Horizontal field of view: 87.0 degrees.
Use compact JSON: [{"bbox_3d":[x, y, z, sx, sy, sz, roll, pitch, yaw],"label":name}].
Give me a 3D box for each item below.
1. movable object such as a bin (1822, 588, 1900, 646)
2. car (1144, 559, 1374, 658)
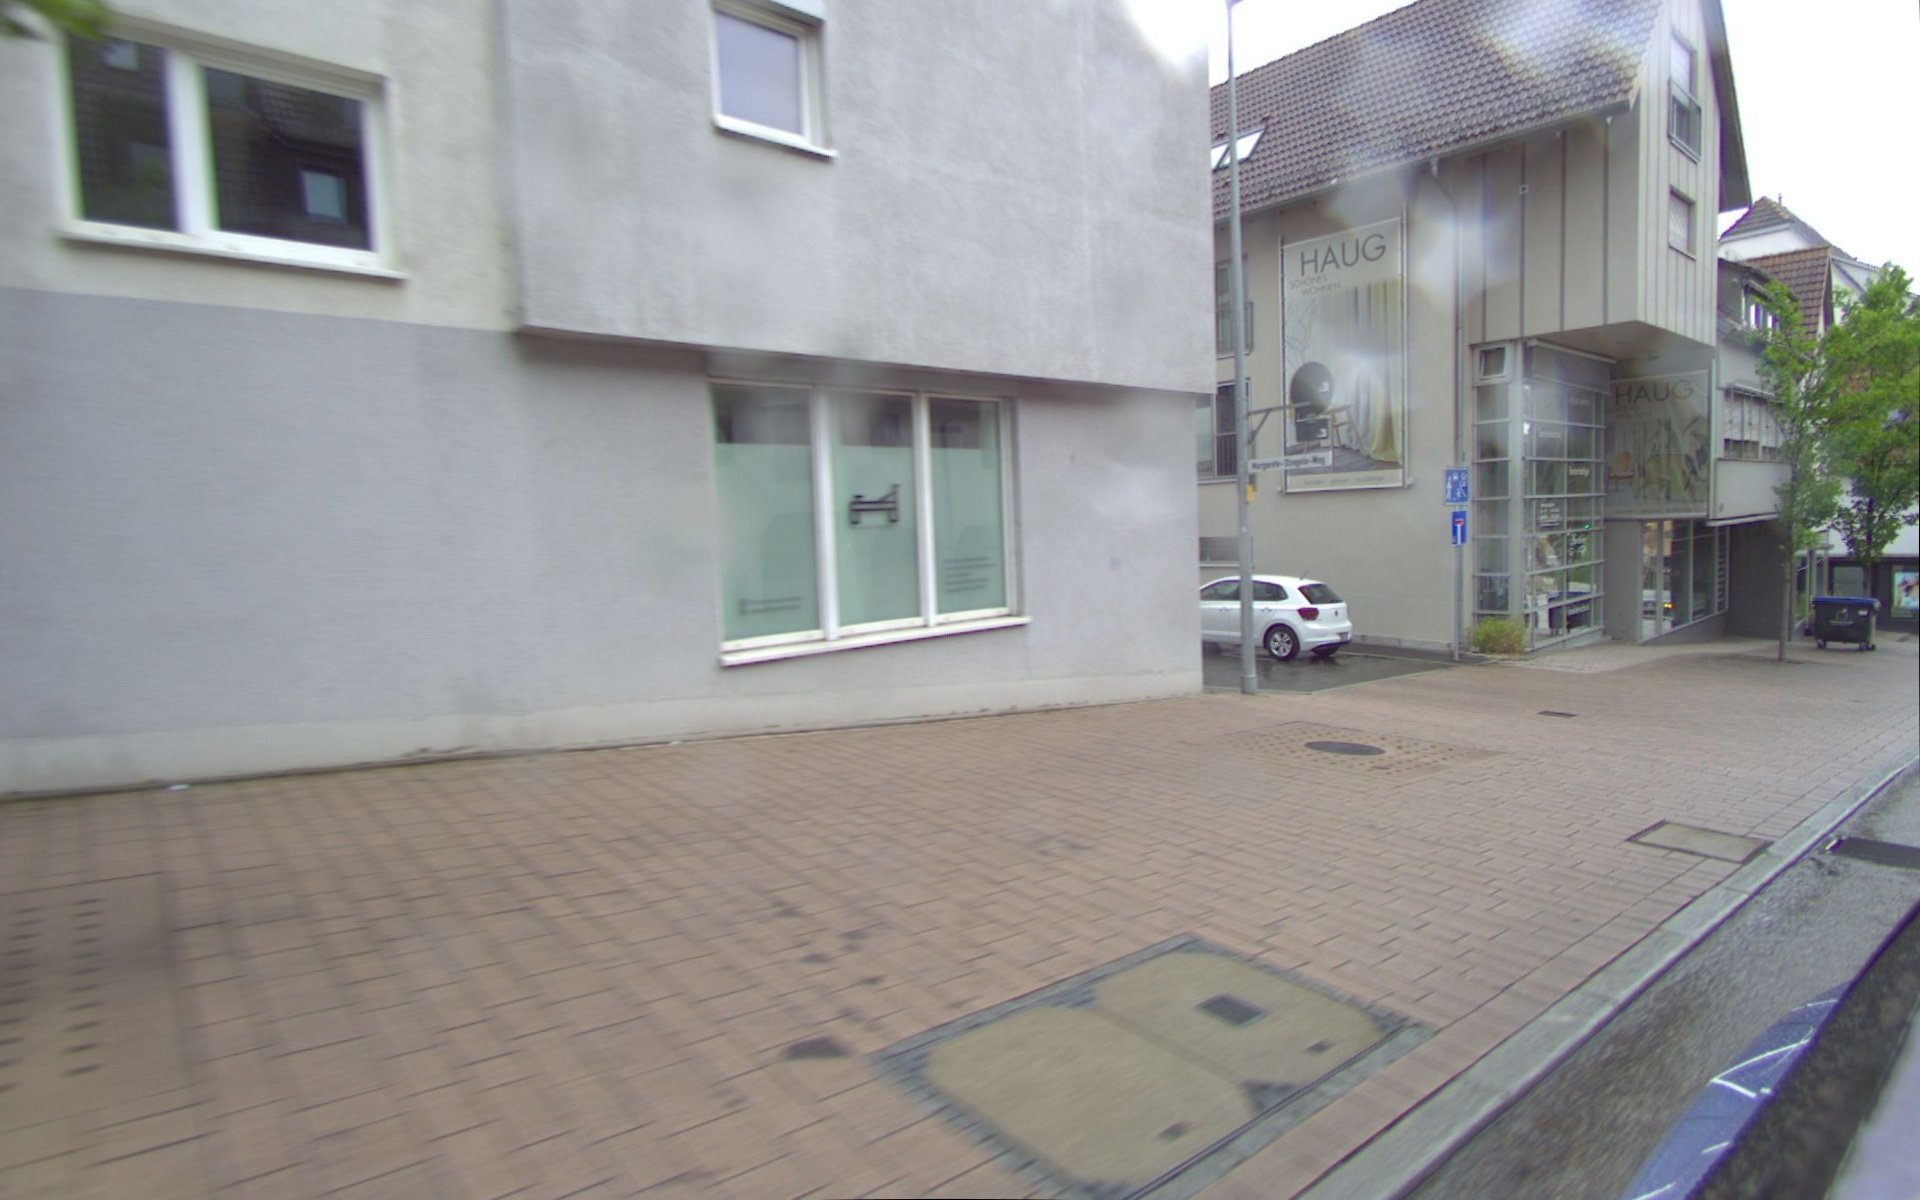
[{"bbox_3d":[22.514,0.404,25.296,1.151,1.351,1.238,1,2,-39],"label":"movable object such as a bin"},{"bbox_3d":[5.532,0.072,19.070,1.714,1.471,3.771,-1,6,-41],"label":"car"}]
